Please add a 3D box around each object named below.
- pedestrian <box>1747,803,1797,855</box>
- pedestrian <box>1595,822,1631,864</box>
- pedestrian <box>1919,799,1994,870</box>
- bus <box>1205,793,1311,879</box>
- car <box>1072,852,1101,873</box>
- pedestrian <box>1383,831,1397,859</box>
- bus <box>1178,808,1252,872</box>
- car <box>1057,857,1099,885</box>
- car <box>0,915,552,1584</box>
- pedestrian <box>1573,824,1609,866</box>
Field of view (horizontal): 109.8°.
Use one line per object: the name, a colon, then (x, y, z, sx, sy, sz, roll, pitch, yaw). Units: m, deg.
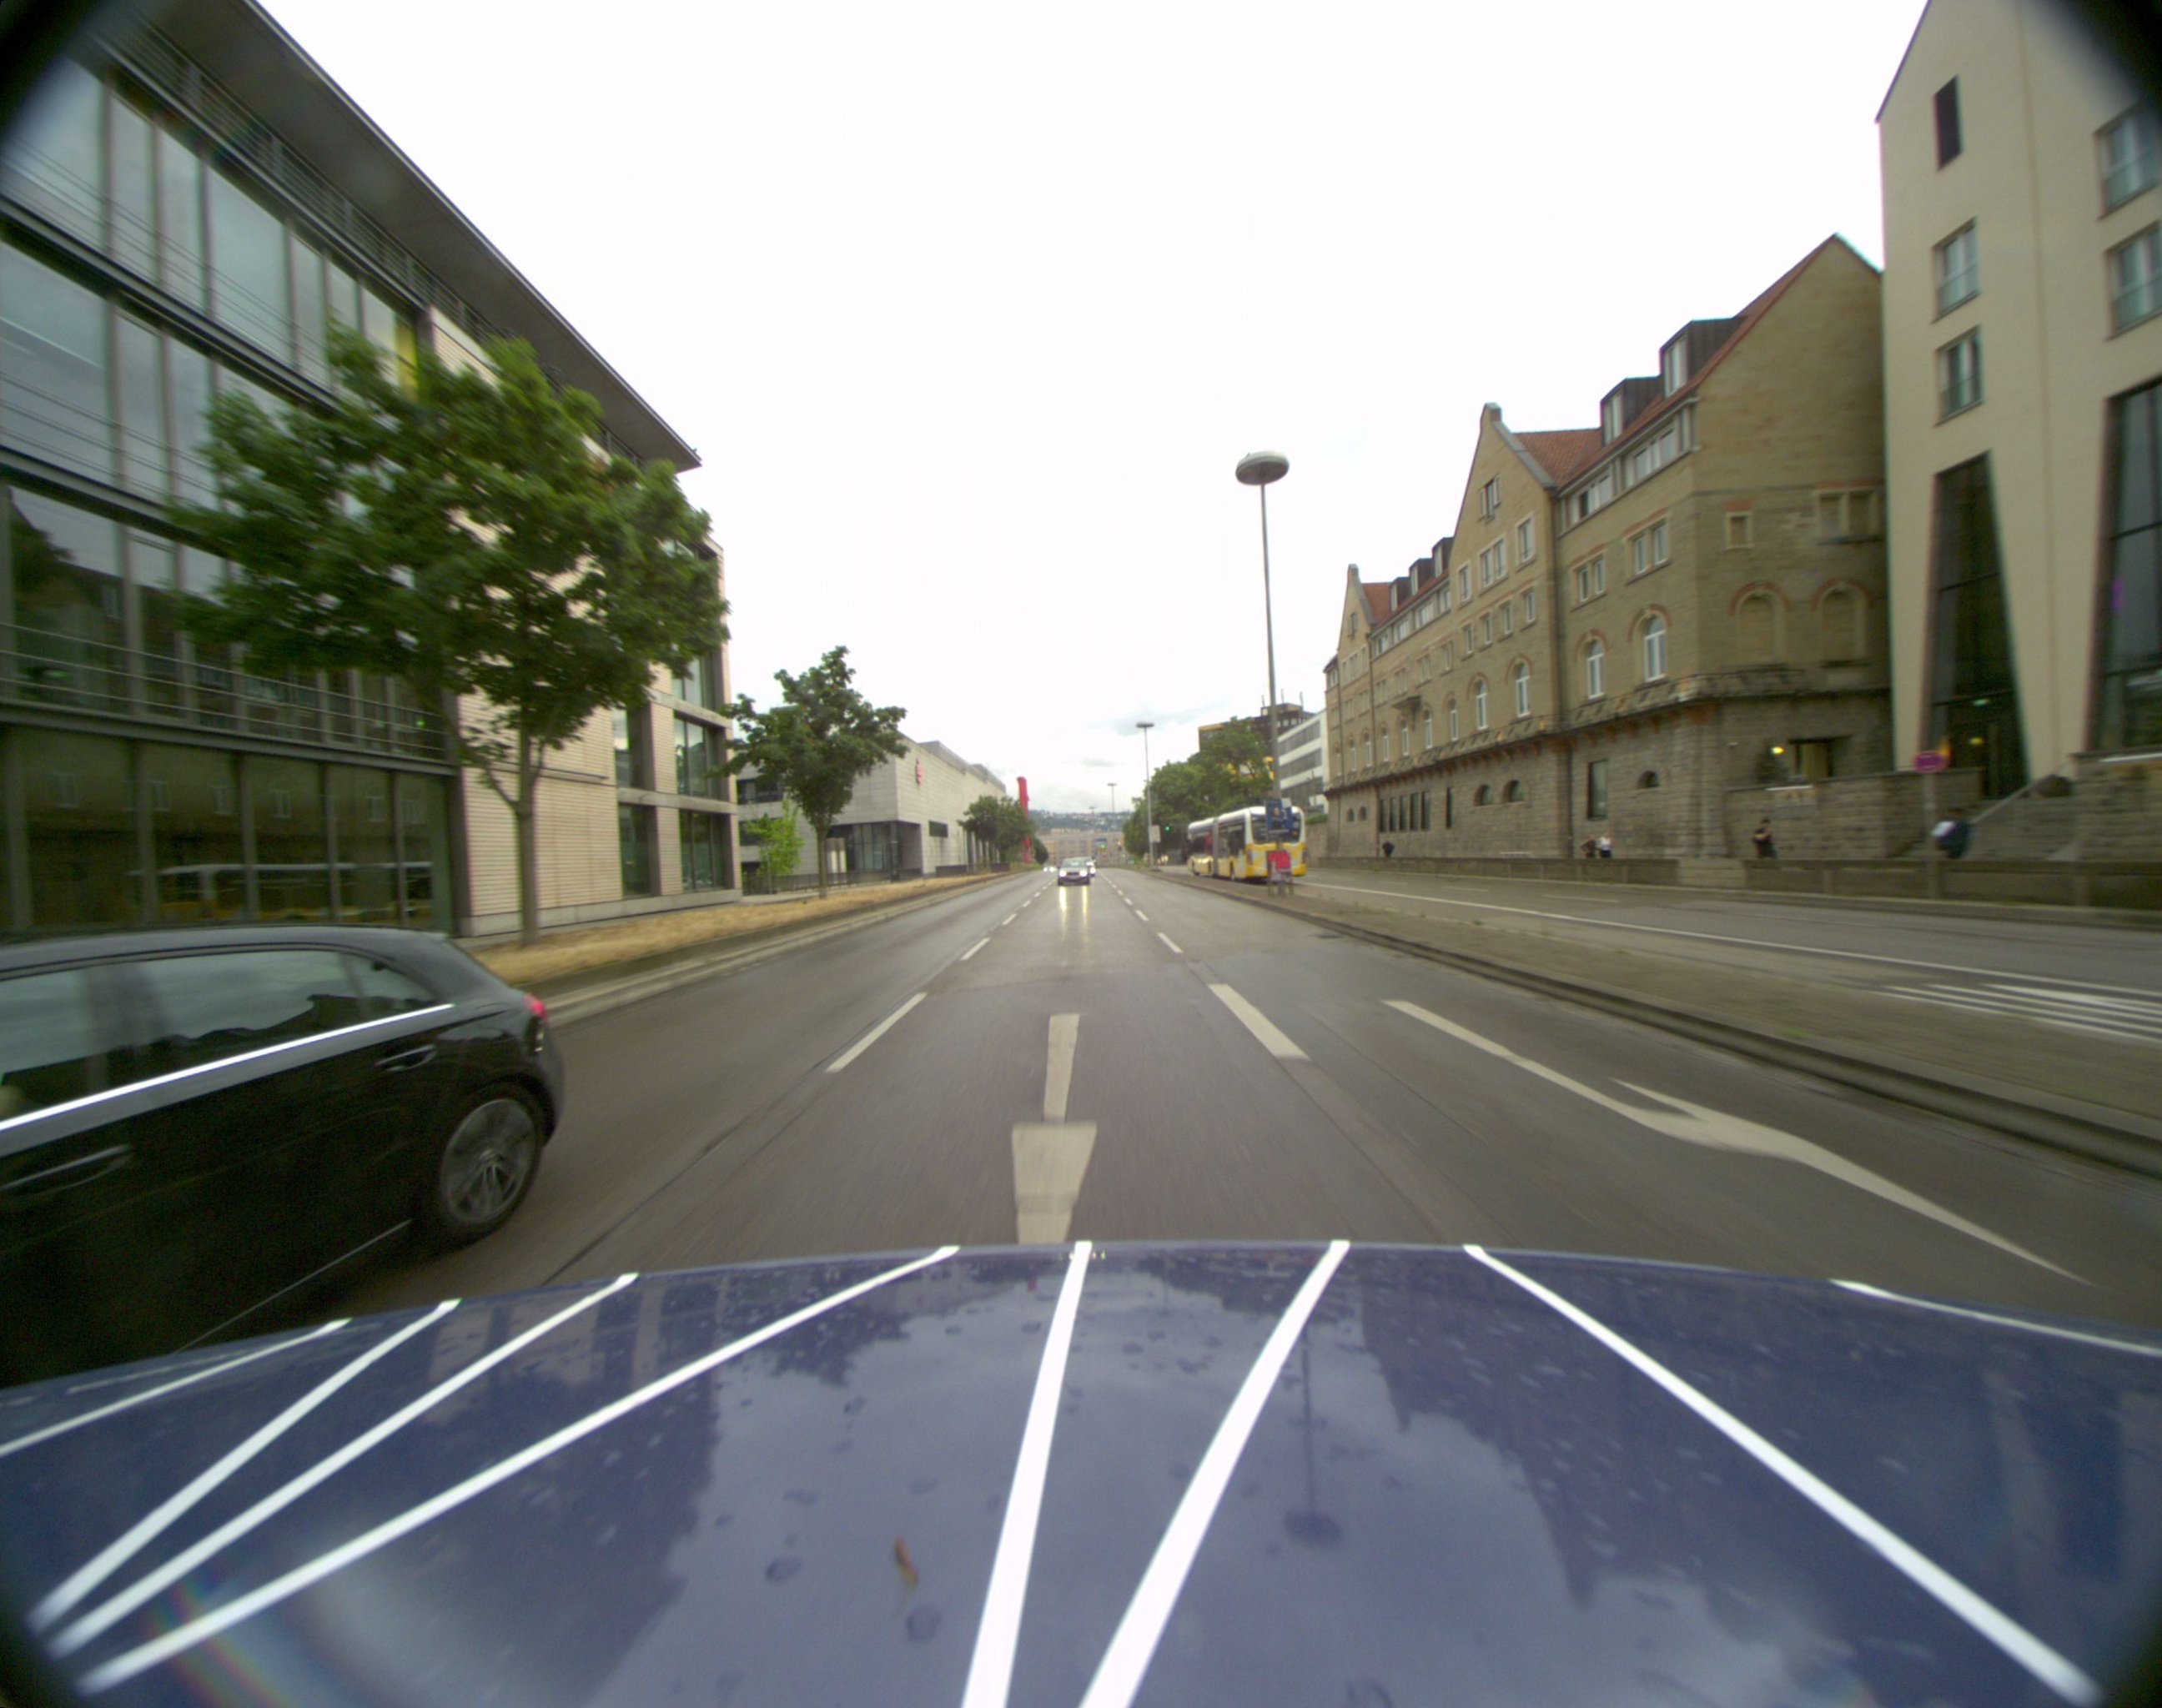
pedestrian: (20.033, -0.718, 22.047, 0.756, 1.469, 0.714, -1, -1, 0)
pedestrian: (19.157, -0.397, 27.377, 0.756, 1.469, 0.714, -1, -1, 0)
pedestrian: (18.888, -0.398, 16.411, 0.755, 1.469, 0.715, -2, -1, 11)
bus: (8.279, -0.802, 36.965, 2.705, 3.539, 10.091, -1, 1, 0)
car: (0.437, 0.592, 57.149, 1.863, 1.449, 4.206, -2, 0, 4)
pedestrian: (19.679, -0.570, 48.359, 0.641, 1.735, 0.621, -2, -1, 11)
bus: (8.121, -0.878, 47.297, 2.705, 3.539, 10.090, -1, 1, 0)
car: (-0.098, 0.904, 41.860, 1.862, 1.428, 4.207, -1, 0, 6)
car: (-3.509, 1.038, 1.550, 1.877, 1.428, 4.205, -2, 0, 0)
pedestrian: (18.358, -0.328, 27.373, 0.756, 1.469, 0.714, -1, -1, 0)
